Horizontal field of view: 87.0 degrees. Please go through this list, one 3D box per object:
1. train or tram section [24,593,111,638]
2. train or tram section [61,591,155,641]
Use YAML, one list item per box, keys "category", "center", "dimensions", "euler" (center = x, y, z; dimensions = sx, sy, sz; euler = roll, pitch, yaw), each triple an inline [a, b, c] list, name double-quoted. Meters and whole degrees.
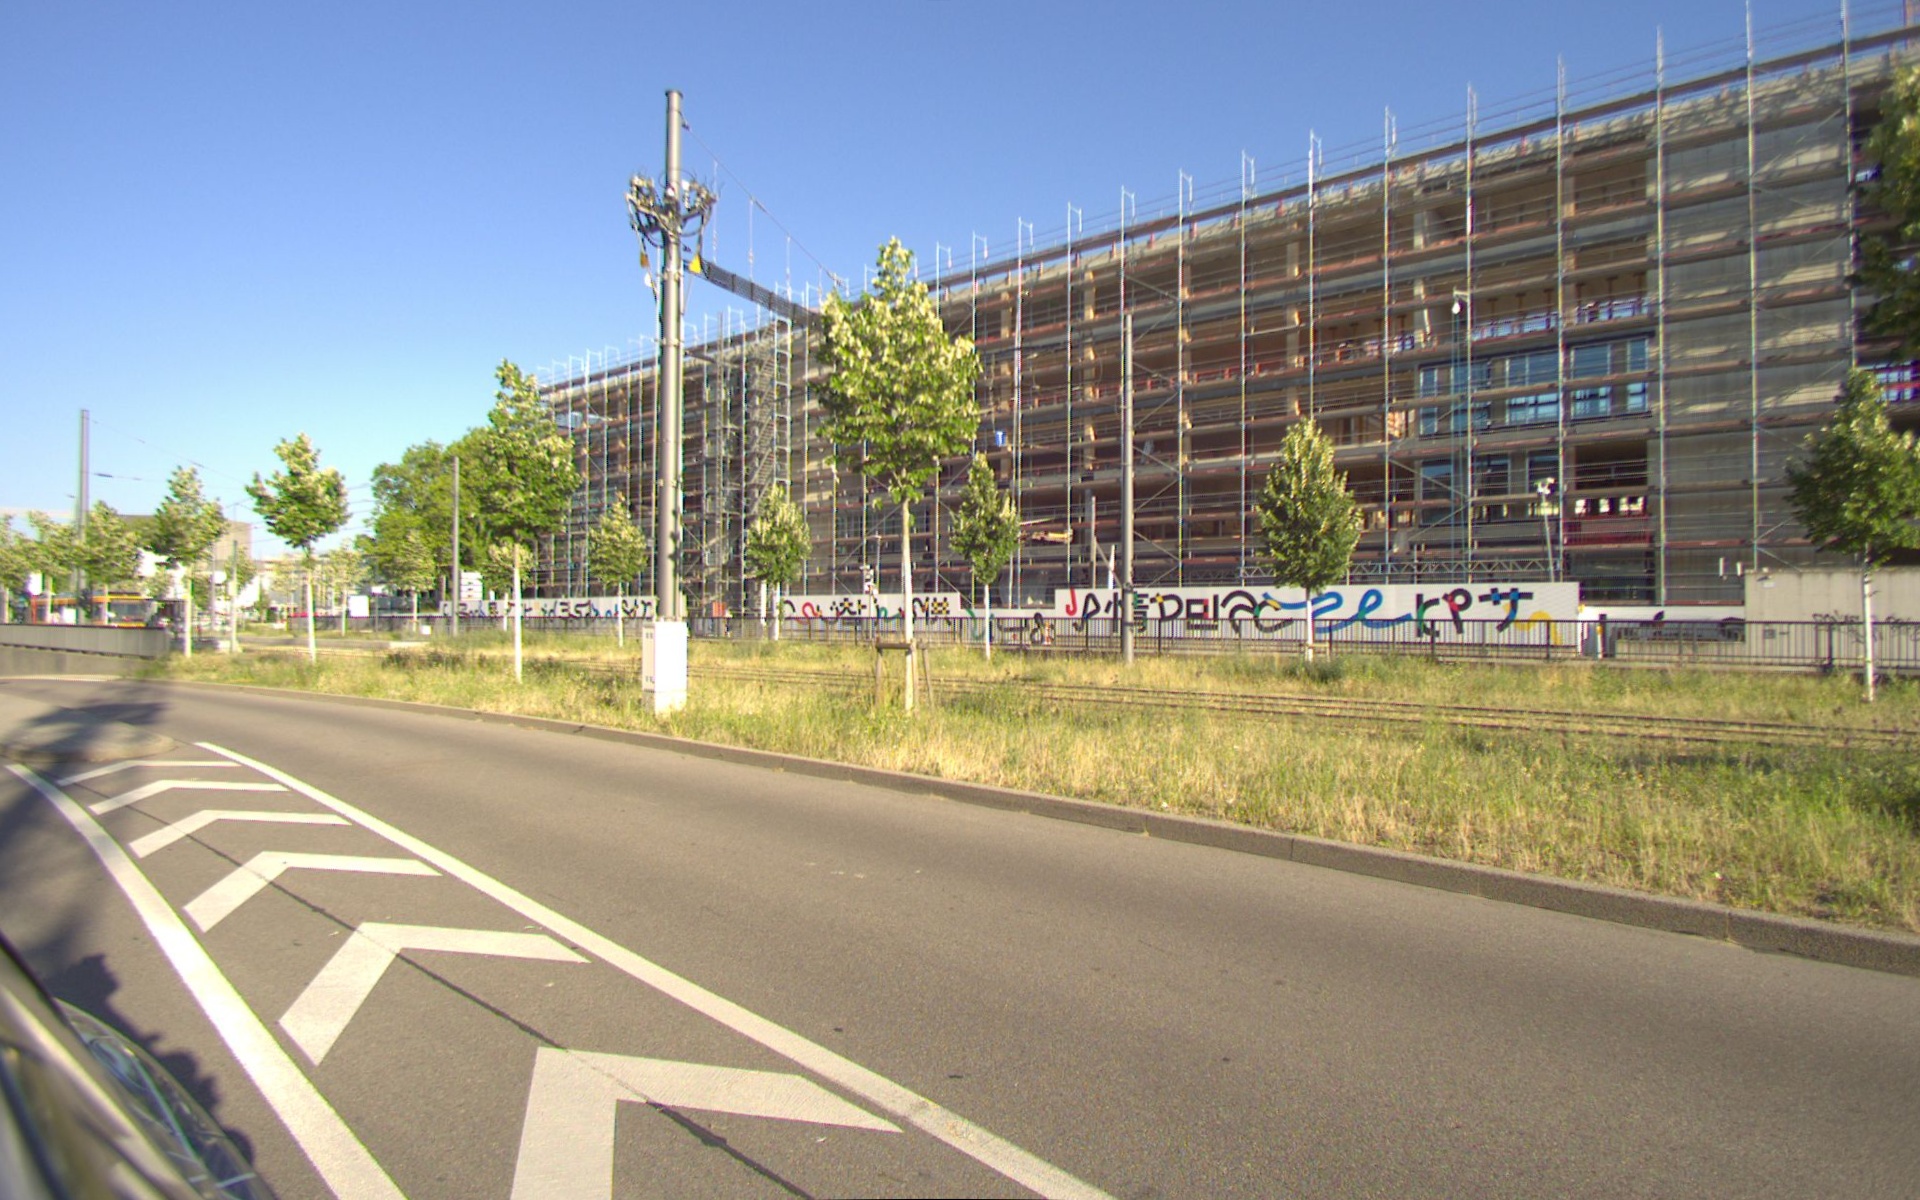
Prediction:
- category: "train or tram section"
  center: [-73.281, 1.269, 82.886]
  dimensions: [14.749, 3.423, 2.917]
  euler: [-1, 0, 39]
- category: "train or tram section"
  center: [-62.636, 1.140, 74.267]
  dimensions: [12.619, 3.423, 2.917]
  euler: [-1, 0, 39]
